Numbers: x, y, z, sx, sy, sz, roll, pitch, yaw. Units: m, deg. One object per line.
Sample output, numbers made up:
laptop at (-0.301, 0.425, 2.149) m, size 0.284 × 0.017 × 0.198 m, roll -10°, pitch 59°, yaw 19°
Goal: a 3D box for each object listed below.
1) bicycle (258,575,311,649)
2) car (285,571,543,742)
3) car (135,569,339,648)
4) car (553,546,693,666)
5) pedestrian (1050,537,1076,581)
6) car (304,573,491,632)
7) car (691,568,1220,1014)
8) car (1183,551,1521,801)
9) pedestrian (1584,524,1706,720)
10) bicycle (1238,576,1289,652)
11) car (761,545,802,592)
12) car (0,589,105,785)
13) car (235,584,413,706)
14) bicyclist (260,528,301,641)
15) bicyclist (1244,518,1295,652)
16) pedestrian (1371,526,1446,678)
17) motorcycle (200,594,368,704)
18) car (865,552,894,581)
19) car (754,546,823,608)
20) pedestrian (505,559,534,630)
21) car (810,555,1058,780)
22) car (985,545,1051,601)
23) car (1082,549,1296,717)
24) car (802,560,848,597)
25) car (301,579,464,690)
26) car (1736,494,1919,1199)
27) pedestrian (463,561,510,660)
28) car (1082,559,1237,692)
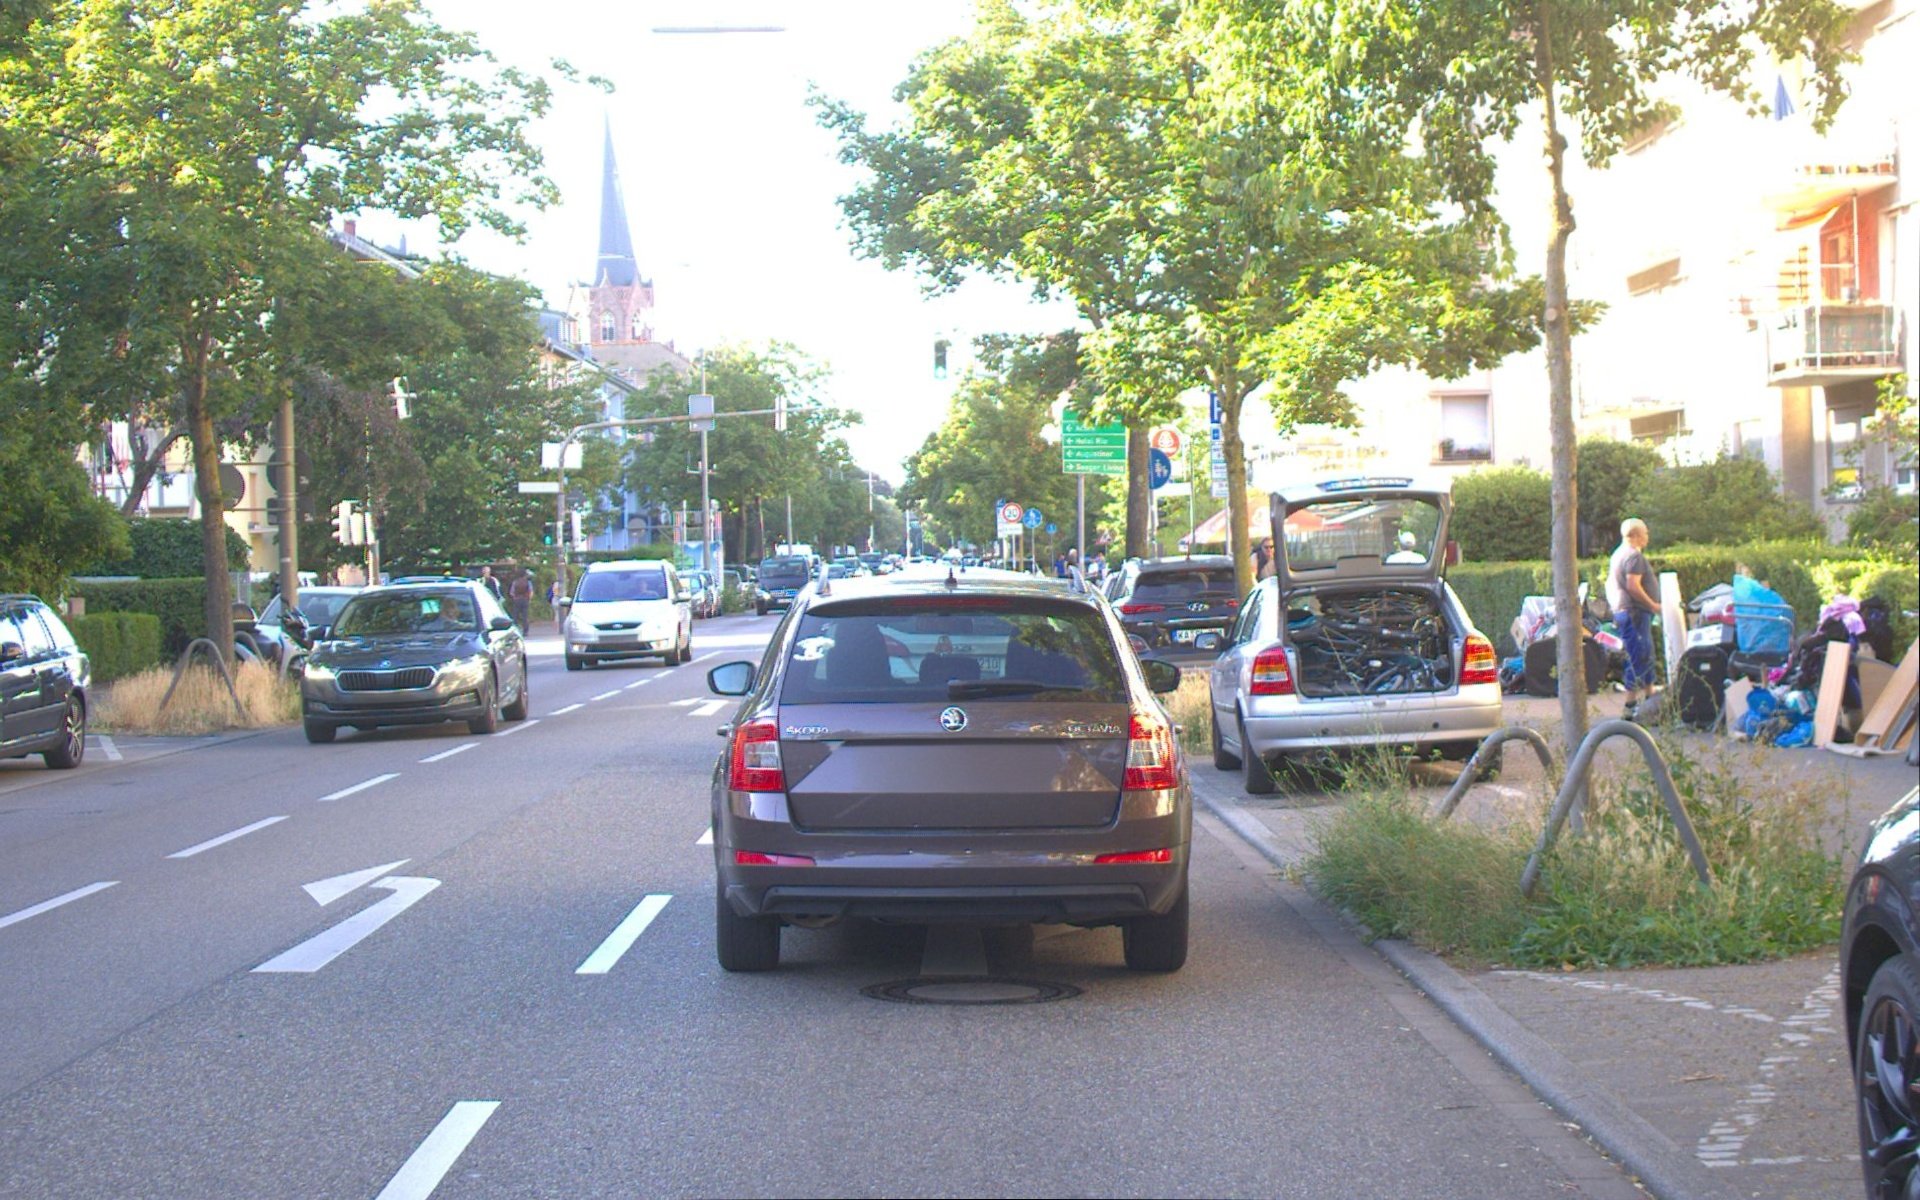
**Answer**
bicycle at (-10.046, 0.171, 51.130) m, size 0.486 × 1.060 × 1.534 m, roll -1°, pitch 1°, yaw -1°
car at (-5.279, 0.499, 33.792) m, size 1.760 × 1.447 × 4.534 m, roll -3°, pitch 1°, yaw 0°
car at (-17.846, 0.202, 85.000) m, size 4.634 × 1.805 × 1.862 m, roll -1°, pitch 0°, yaw 0°
car at (-5.464, 0.069, 56.286) m, size 1.805 × 1.798 × 4.746 m, roll -3°, pitch 1°, yaw -1°
pedestrian at (3.979, -1.594, 132.794) m, size 0.675 × 1.698 × 0.800 m, roll -1°, pitch 0°, yaw 26°
car at (-14.840, 0.055, 90.830) m, size 4.634 × 1.530 × 1.862 m, roll 0°, pitch 1°, yaw 0°
car at (-0.046, 0.620, 13.690) m, size 1.773 × 1.484 × 4.311 m, roll 0°, pitch 1°, yaw -1°
car at (2.591, 0.452, 23.656) m, size 1.708 × 1.475 × 4.268 m, roll -3°, pitch 1°, yaw -1°
pedestrian at (5.810, 0.181, 29.152) m, size 0.757 × 1.634 × 0.694 m, roll -1°, pitch 1°, yaw 36°
bicycle at (4.109, 0.177, 46.634) m, size 0.516 × 0.984 × 1.831 m, roll -1°, pitch 1°, yaw 0°
car at (-9.535, -1.684, 183.846) m, size 1.993 × 2.469 × 4.000 m, roll -1°, pitch 1°, yaw 0°
car at (-8.355, 0.671, 27.582) m, size 1.867 × 1.489 × 4.517 m, roll 0°, pitch 1°, yaw 0°
car at (-8.174, 0.551, 44.475) m, size 1.593 × 1.465 × 3.803 m, roll 1°, pitch 1°, yaw 0°
bicyclist at (-10.049, -0.233, 50.874) m, size 0.468 × 1.657 × 0.552 m, roll -1°, pitch 1°, yaw -1°
bicyclist at (4.193, -0.208, 46.645) m, size 0.581 × 1.782 × 0.852 m, roll -1°, pitch 1°, yaw 0°
pedestrian at (5.287, 0.024, 40.552) m, size 0.662 × 1.743 × 0.772 m, roll -3°, pitch 0°, yaw -3°
motorcycle at (-8.023, 0.586, 40.765) m, size 2.052 × 1.260 × 0.765 m, roll -1°, pitch 1°, yaw 38°
car at (-5.867, -2.444, 250.853) m, size 1.993 × 2.007 × 4.000 m, roll -1°, pitch 1°, yaw 0°
car at (-5.627, -0.774, 113.477) m, size 1.993 × 1.902 × 4.964 m, roll -3°, pitch 1°, yaw -1°
pedestrian at (-11.218, -0.154, 87.633) m, size 0.616 × 1.791 × 0.504 m, roll -2°, pitch 0°, yaw 0°
car at (-0.168, 0.457, 26.238) m, size 1.737 × 1.565 × 4.000 m, roll 1°, pitch 1°, yaw 0°
car at (1.901, -0.885, 111.091) m, size 1.994 × 1.766 × 4.000 m, roll 1°, pitch 1°, yaw 3°
car at (2.338, 0.304, 36.065) m, size 1.856 × 1.576 × 4.014 m, roll -3°, pitch 1°, yaw -1°
car at (-6.003, -0.946, 153.117) m, size 1.830 × 1.574 × 4.000 m, roll -2°, pitch 1°, yaw 0°
car at (-8.199, 0.459, 49.104) m, size 1.648 × 1.512 × 4.074 m, roll 0°, pitch 1°, yaw 0°
car at (2.648, 0.563, 5.132) m, size 1.856 × 1.598 × 4.311 m, roll -4°, pitch 1°, yaw -1°
pedestrian at (-9.655, 0.214, 70.066) m, size 0.780 × 1.981 × 0.821 m, roll -2°, pitch 0°, yaw 0°
car at (2.369, 0.267, 41.691) m, size 1.703 × 1.445 × 4.013 m, roll -3°, pitch 1°, yaw 2°
